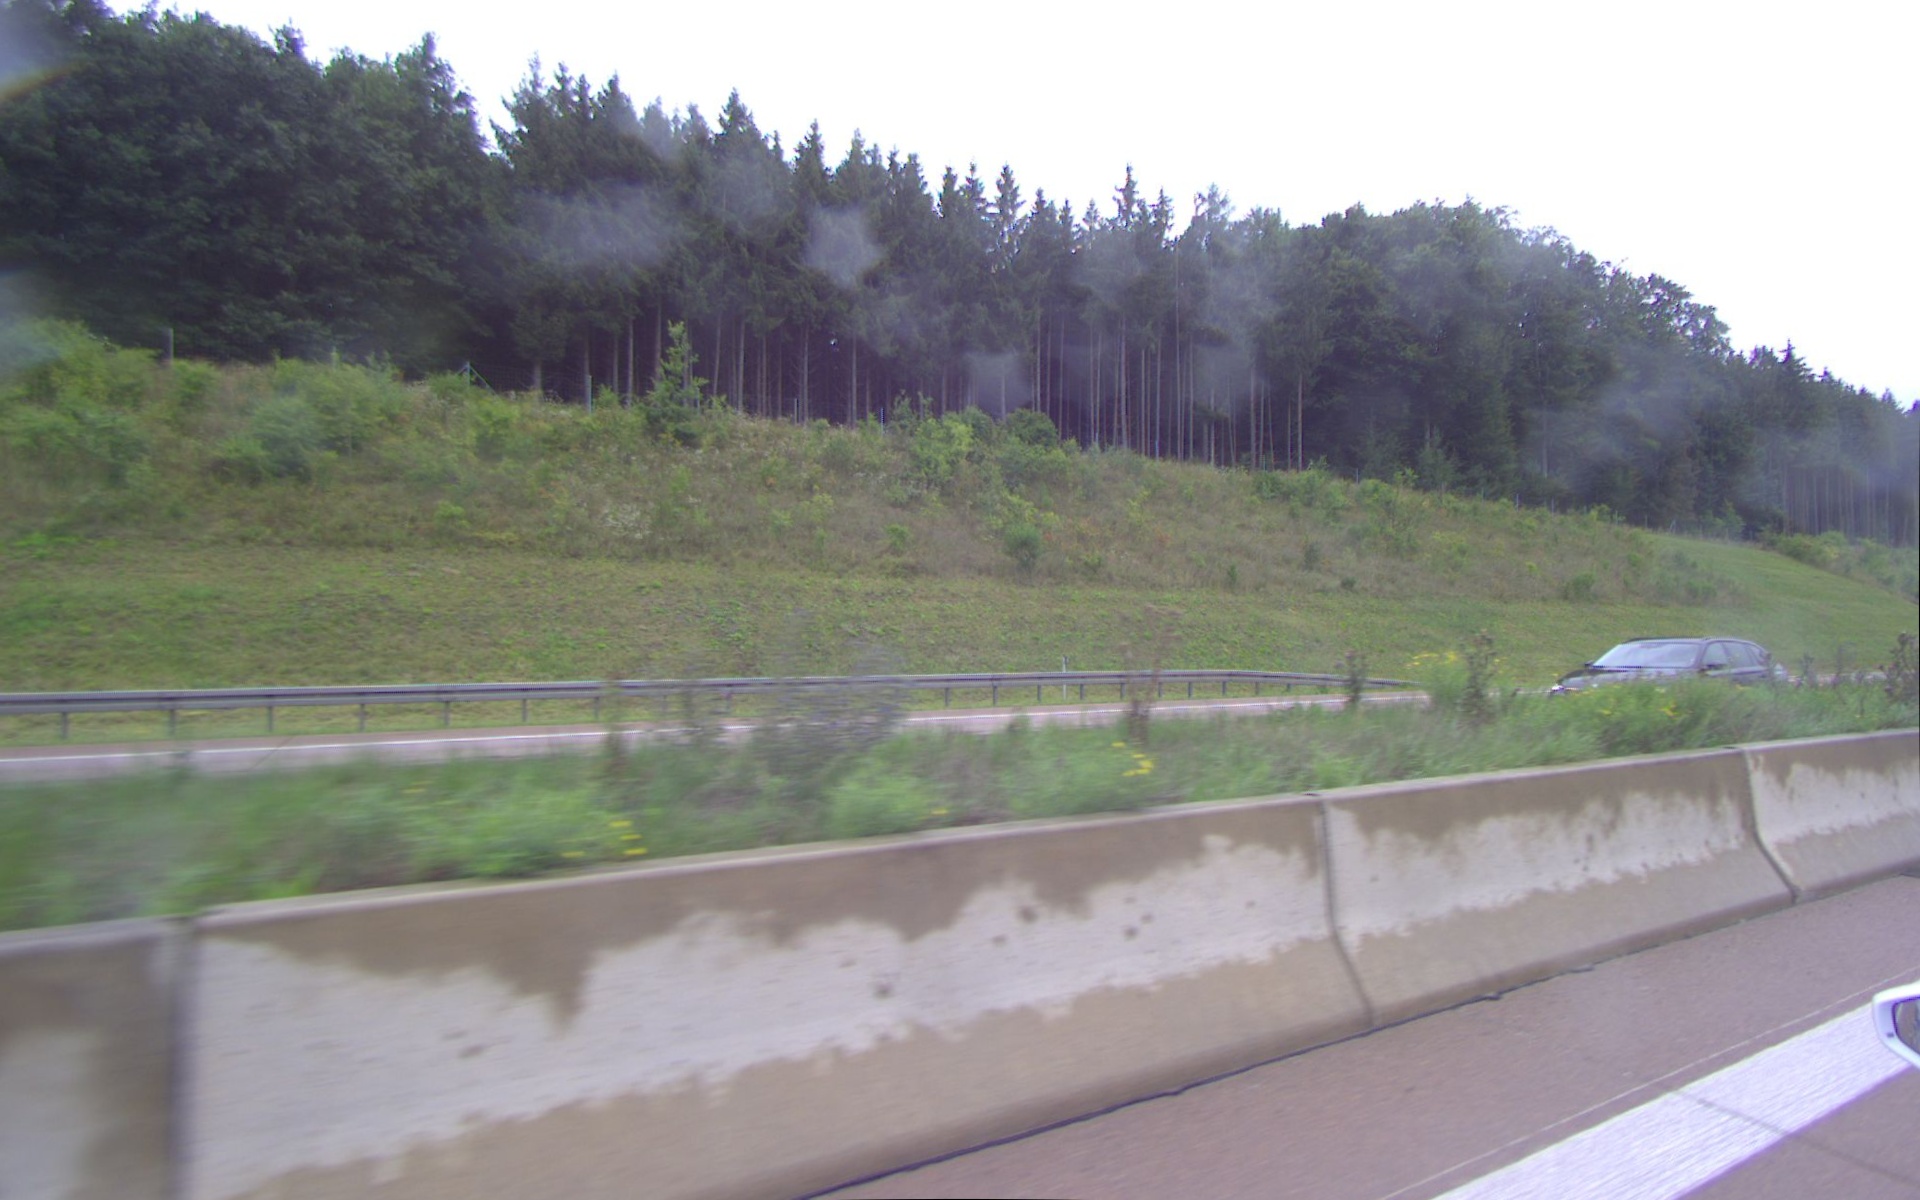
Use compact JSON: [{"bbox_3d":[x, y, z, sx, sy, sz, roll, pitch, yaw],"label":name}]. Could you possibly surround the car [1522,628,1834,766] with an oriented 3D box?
[{"bbox_3d":[11.393,1.410,15.832,5.263,1.800,2.038,2,0,-31],"label":"car"}]
